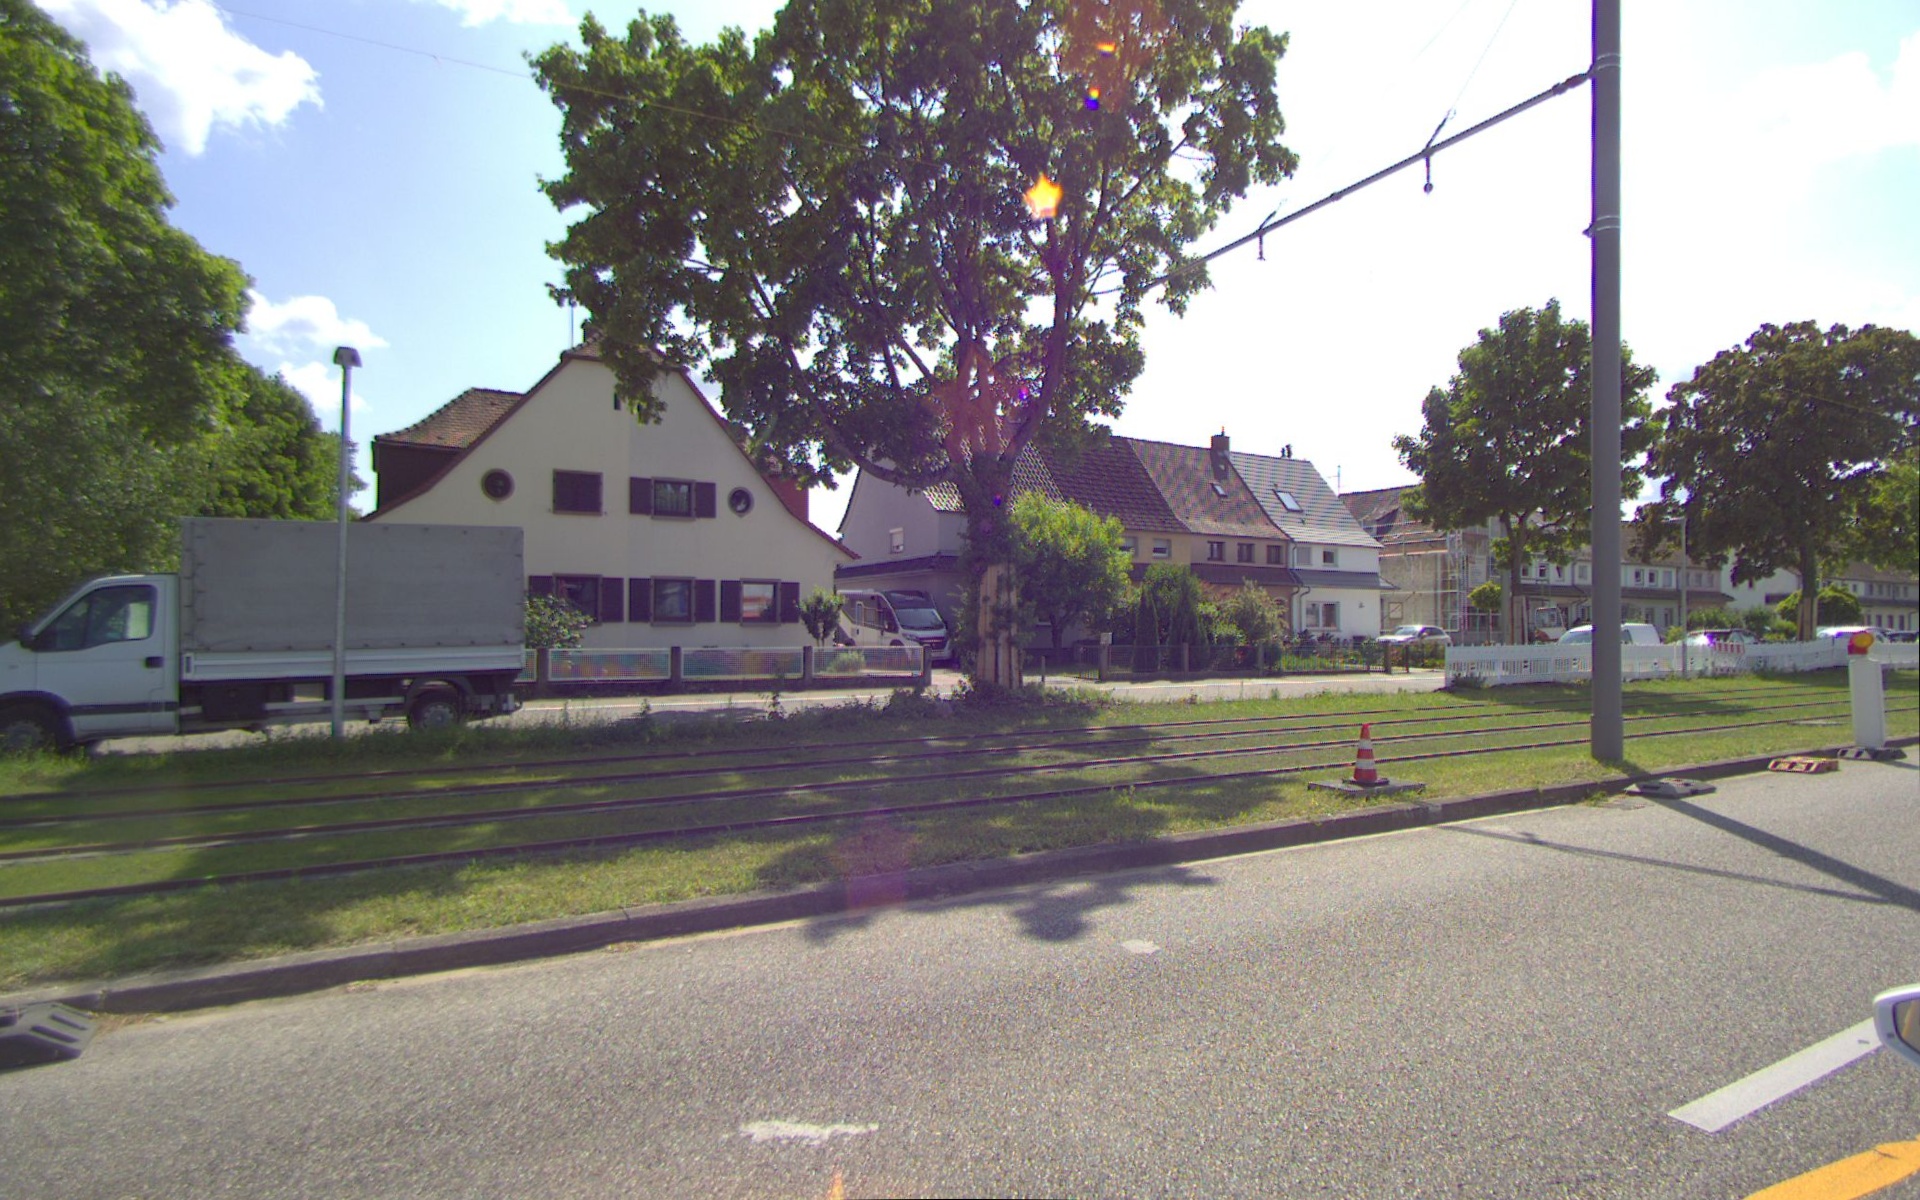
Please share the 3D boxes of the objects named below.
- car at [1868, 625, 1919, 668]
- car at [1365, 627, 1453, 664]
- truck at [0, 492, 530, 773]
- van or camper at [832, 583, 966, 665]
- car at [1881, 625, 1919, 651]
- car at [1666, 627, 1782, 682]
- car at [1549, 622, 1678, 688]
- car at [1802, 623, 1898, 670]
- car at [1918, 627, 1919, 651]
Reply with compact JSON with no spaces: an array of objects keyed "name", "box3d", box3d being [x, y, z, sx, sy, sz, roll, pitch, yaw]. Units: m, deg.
[{"name":"car","box3d":[40.392,1.958,42.597,3.814,1.762,1.691,1,-2,-30]},{"name":"car","box3d":[19.892,1.991,44.477,3.814,1.614,1.691,1,-2,-30]},{"name":"truck","box3d":[-8.796,0.411,12.933,5.805,3.027,1.994,1,-2,-30]},{"name":"van or camper","box3d":[-2.348,0.905,36.649,2.224,2.745,5.963,1,-2,-33]},{"name":"car","box3d":[66.756,2.680,70.727,4.013,1.762,1.691,1,-2,-30]},{"name":"car","box3d":[25.748,1.797,33.824,4.006,1.762,1.691,1,-2,-30]},{"name":"car","box3d":[19.503,1.602,29.958,3.814,1.841,1.691,1,-2,-30]},{"name":"car","box3d":[34.958,1.800,39.428,3.814,1.762,1.691,1,-2,-30]},{"name":"car","box3d":[72.139,2.844,73.663,4.013,1.762,1.691,1,-2,-30]}]
